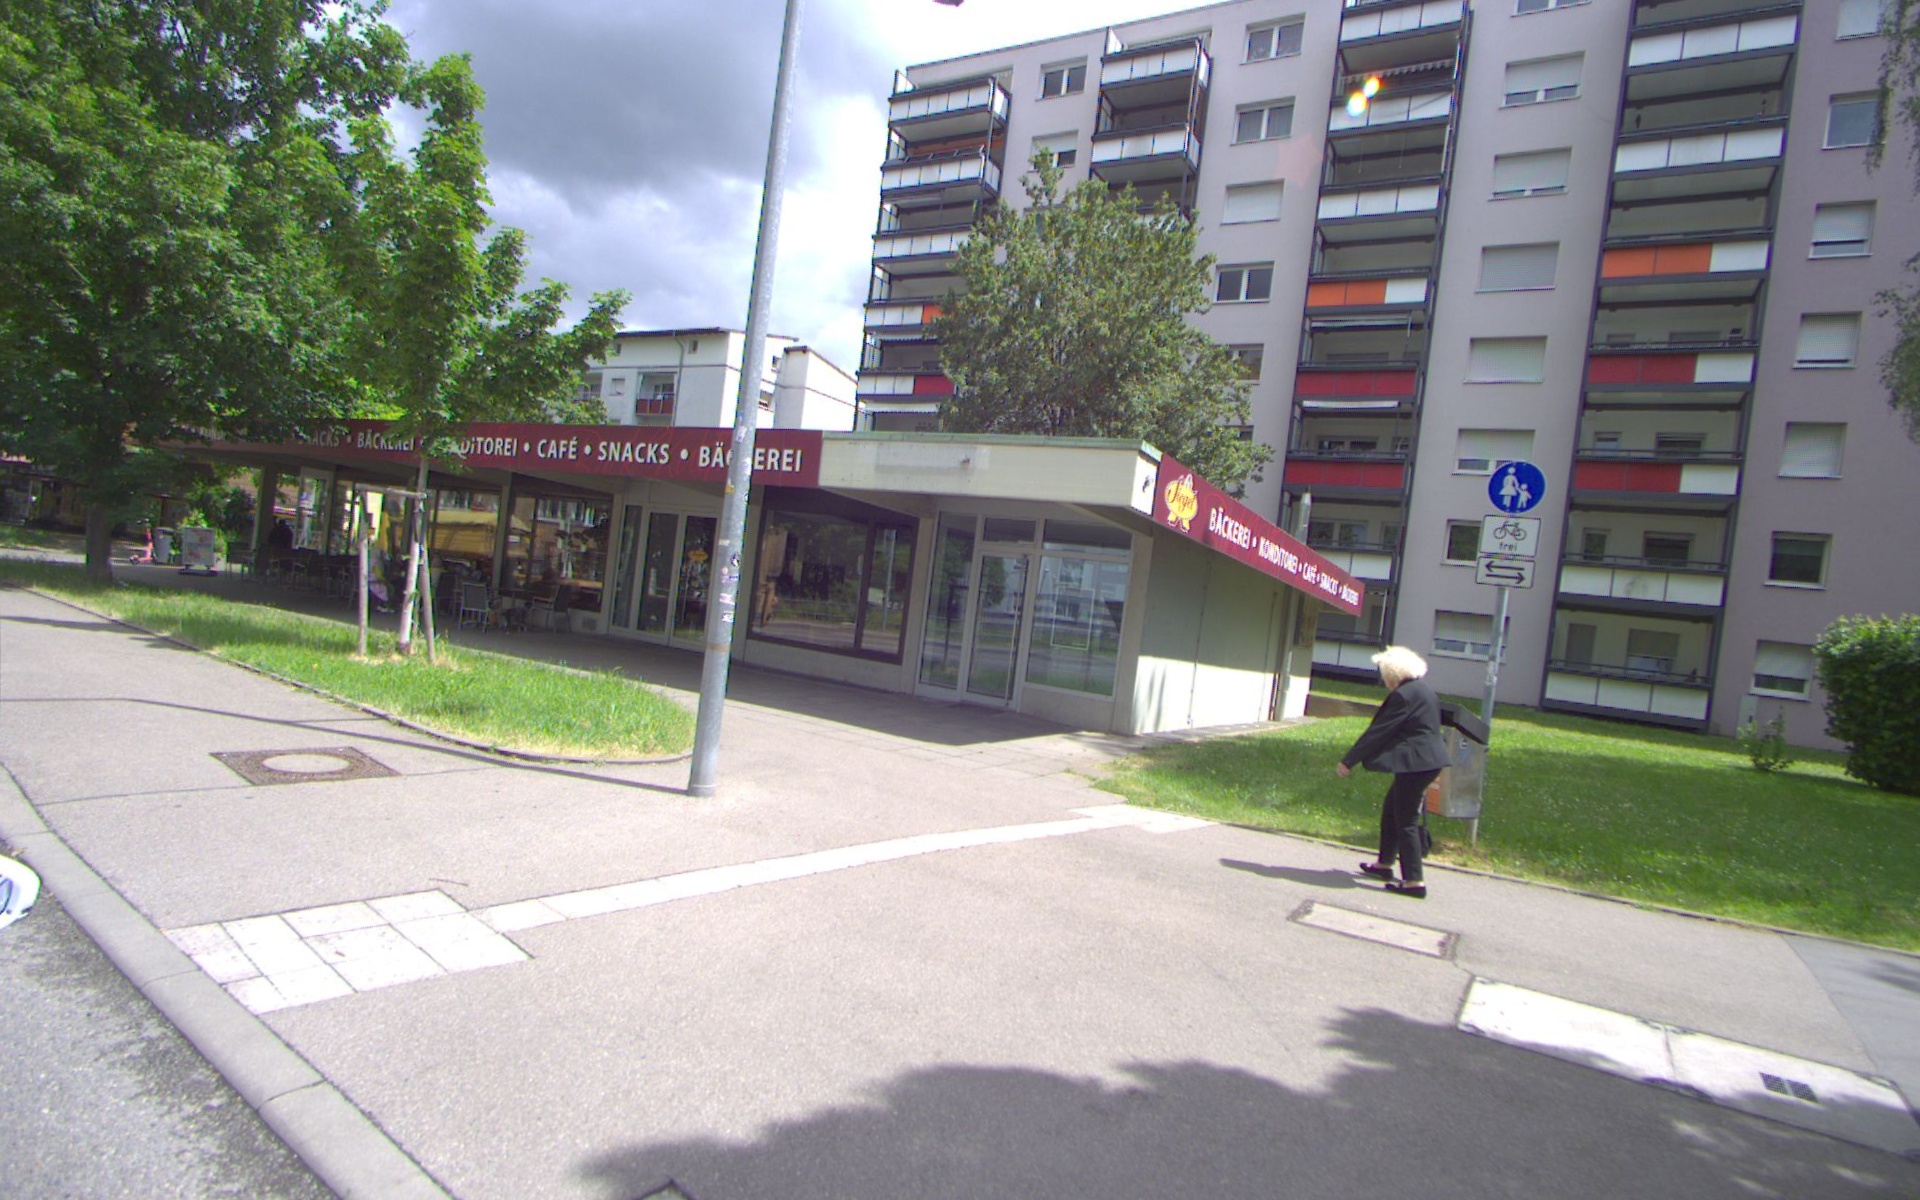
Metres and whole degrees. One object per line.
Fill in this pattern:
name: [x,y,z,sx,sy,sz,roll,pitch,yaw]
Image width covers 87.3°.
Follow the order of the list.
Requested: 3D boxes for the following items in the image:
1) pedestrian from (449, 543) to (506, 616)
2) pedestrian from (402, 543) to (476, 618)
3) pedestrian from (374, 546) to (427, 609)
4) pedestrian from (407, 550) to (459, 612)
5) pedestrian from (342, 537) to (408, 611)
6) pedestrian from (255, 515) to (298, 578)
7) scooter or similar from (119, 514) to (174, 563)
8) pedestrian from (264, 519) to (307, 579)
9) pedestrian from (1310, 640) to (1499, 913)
pedestrian: [-10.028,-0.428,20.903,0.688,1.398,0.717,7,1,37]
pedestrian: [-10.427,-0.383,20.140,0.809,1.341,0.879,10,2,30]
pedestrian: [-11.726,-0.475,21.080,0.690,1.216,0.716,7,1,44]
pedestrian: [-11.243,-0.404,21.454,0.690,1.216,0.716,7,1,44]
pedestrian: [-11.597,-0.509,19.957,0.602,1.341,0.877,7,1,39]
pedestrian: [-18.534,-1.452,27.276,0.548,1.593,0.697,7,1,34]
scooter or similar: [-22.235,-1.670,27.520,0.512,1.242,1.723,7,1,-19]
pedestrian: [-18.073,-1.356,26.958,0.548,1.507,0.697,7,1,34]
pedestrian: [2.889,1.086,6.517,0.791,1.538,0.871,7,1,37]
